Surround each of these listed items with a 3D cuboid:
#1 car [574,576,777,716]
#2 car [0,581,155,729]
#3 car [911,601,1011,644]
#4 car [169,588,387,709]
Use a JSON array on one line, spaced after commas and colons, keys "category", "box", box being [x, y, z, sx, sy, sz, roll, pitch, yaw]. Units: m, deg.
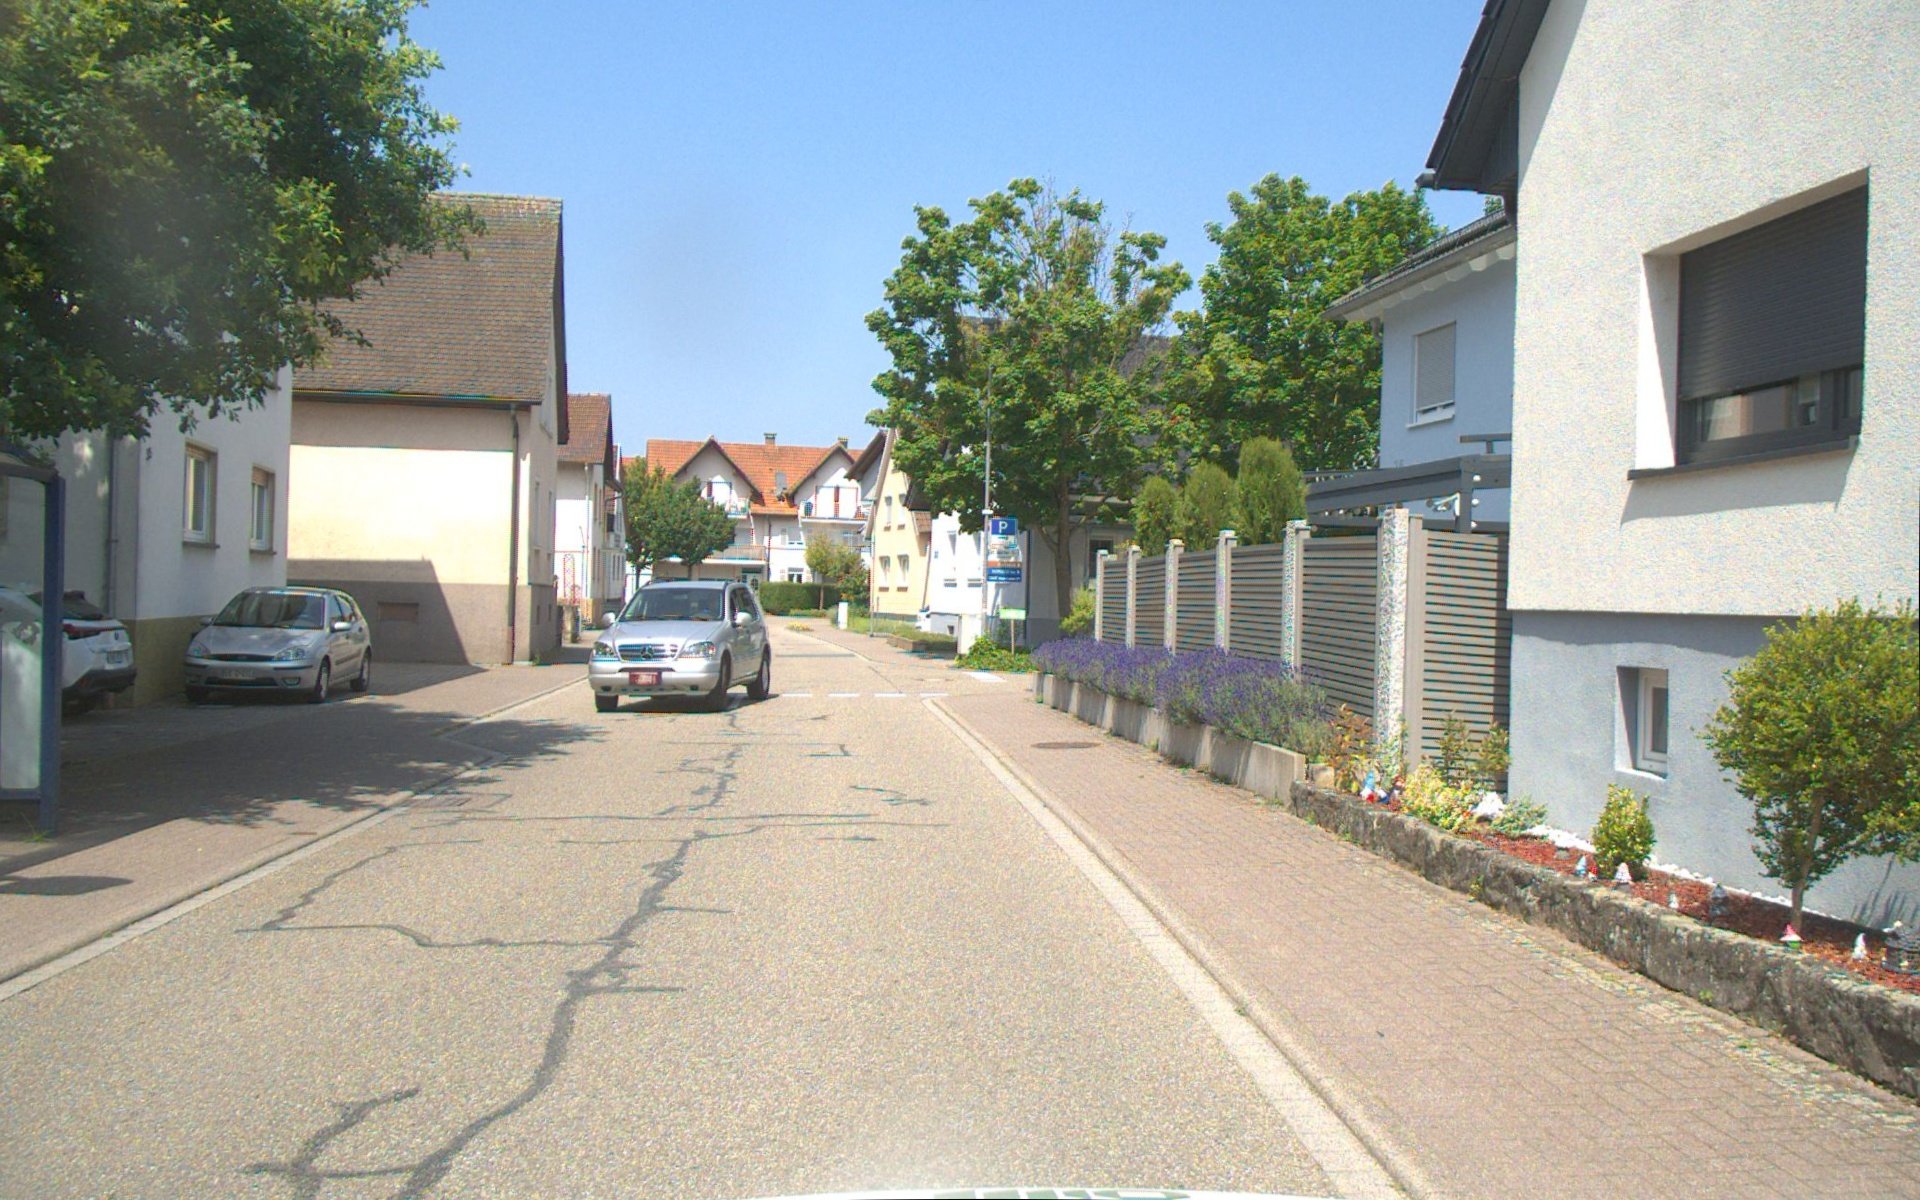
[{"category": "car", "box": [-3.914, 0.593, 23.472, 1.846, 1.798, 4.333, 0, 0, 4]}, {"category": "car", "box": [-11.403, 0.593, 18.326, 4.080, 1.565, 1.771, -1, 0, -7]}, {"category": "car", "box": [0.025, 0.734, 53.997, 2.994, 1.369, 1.416, 1, -1, -17]}, {"category": "car", "box": [-9.168, 0.596, 22.582, 1.745, 1.460, 4.048, 2, 0, -8]}]
